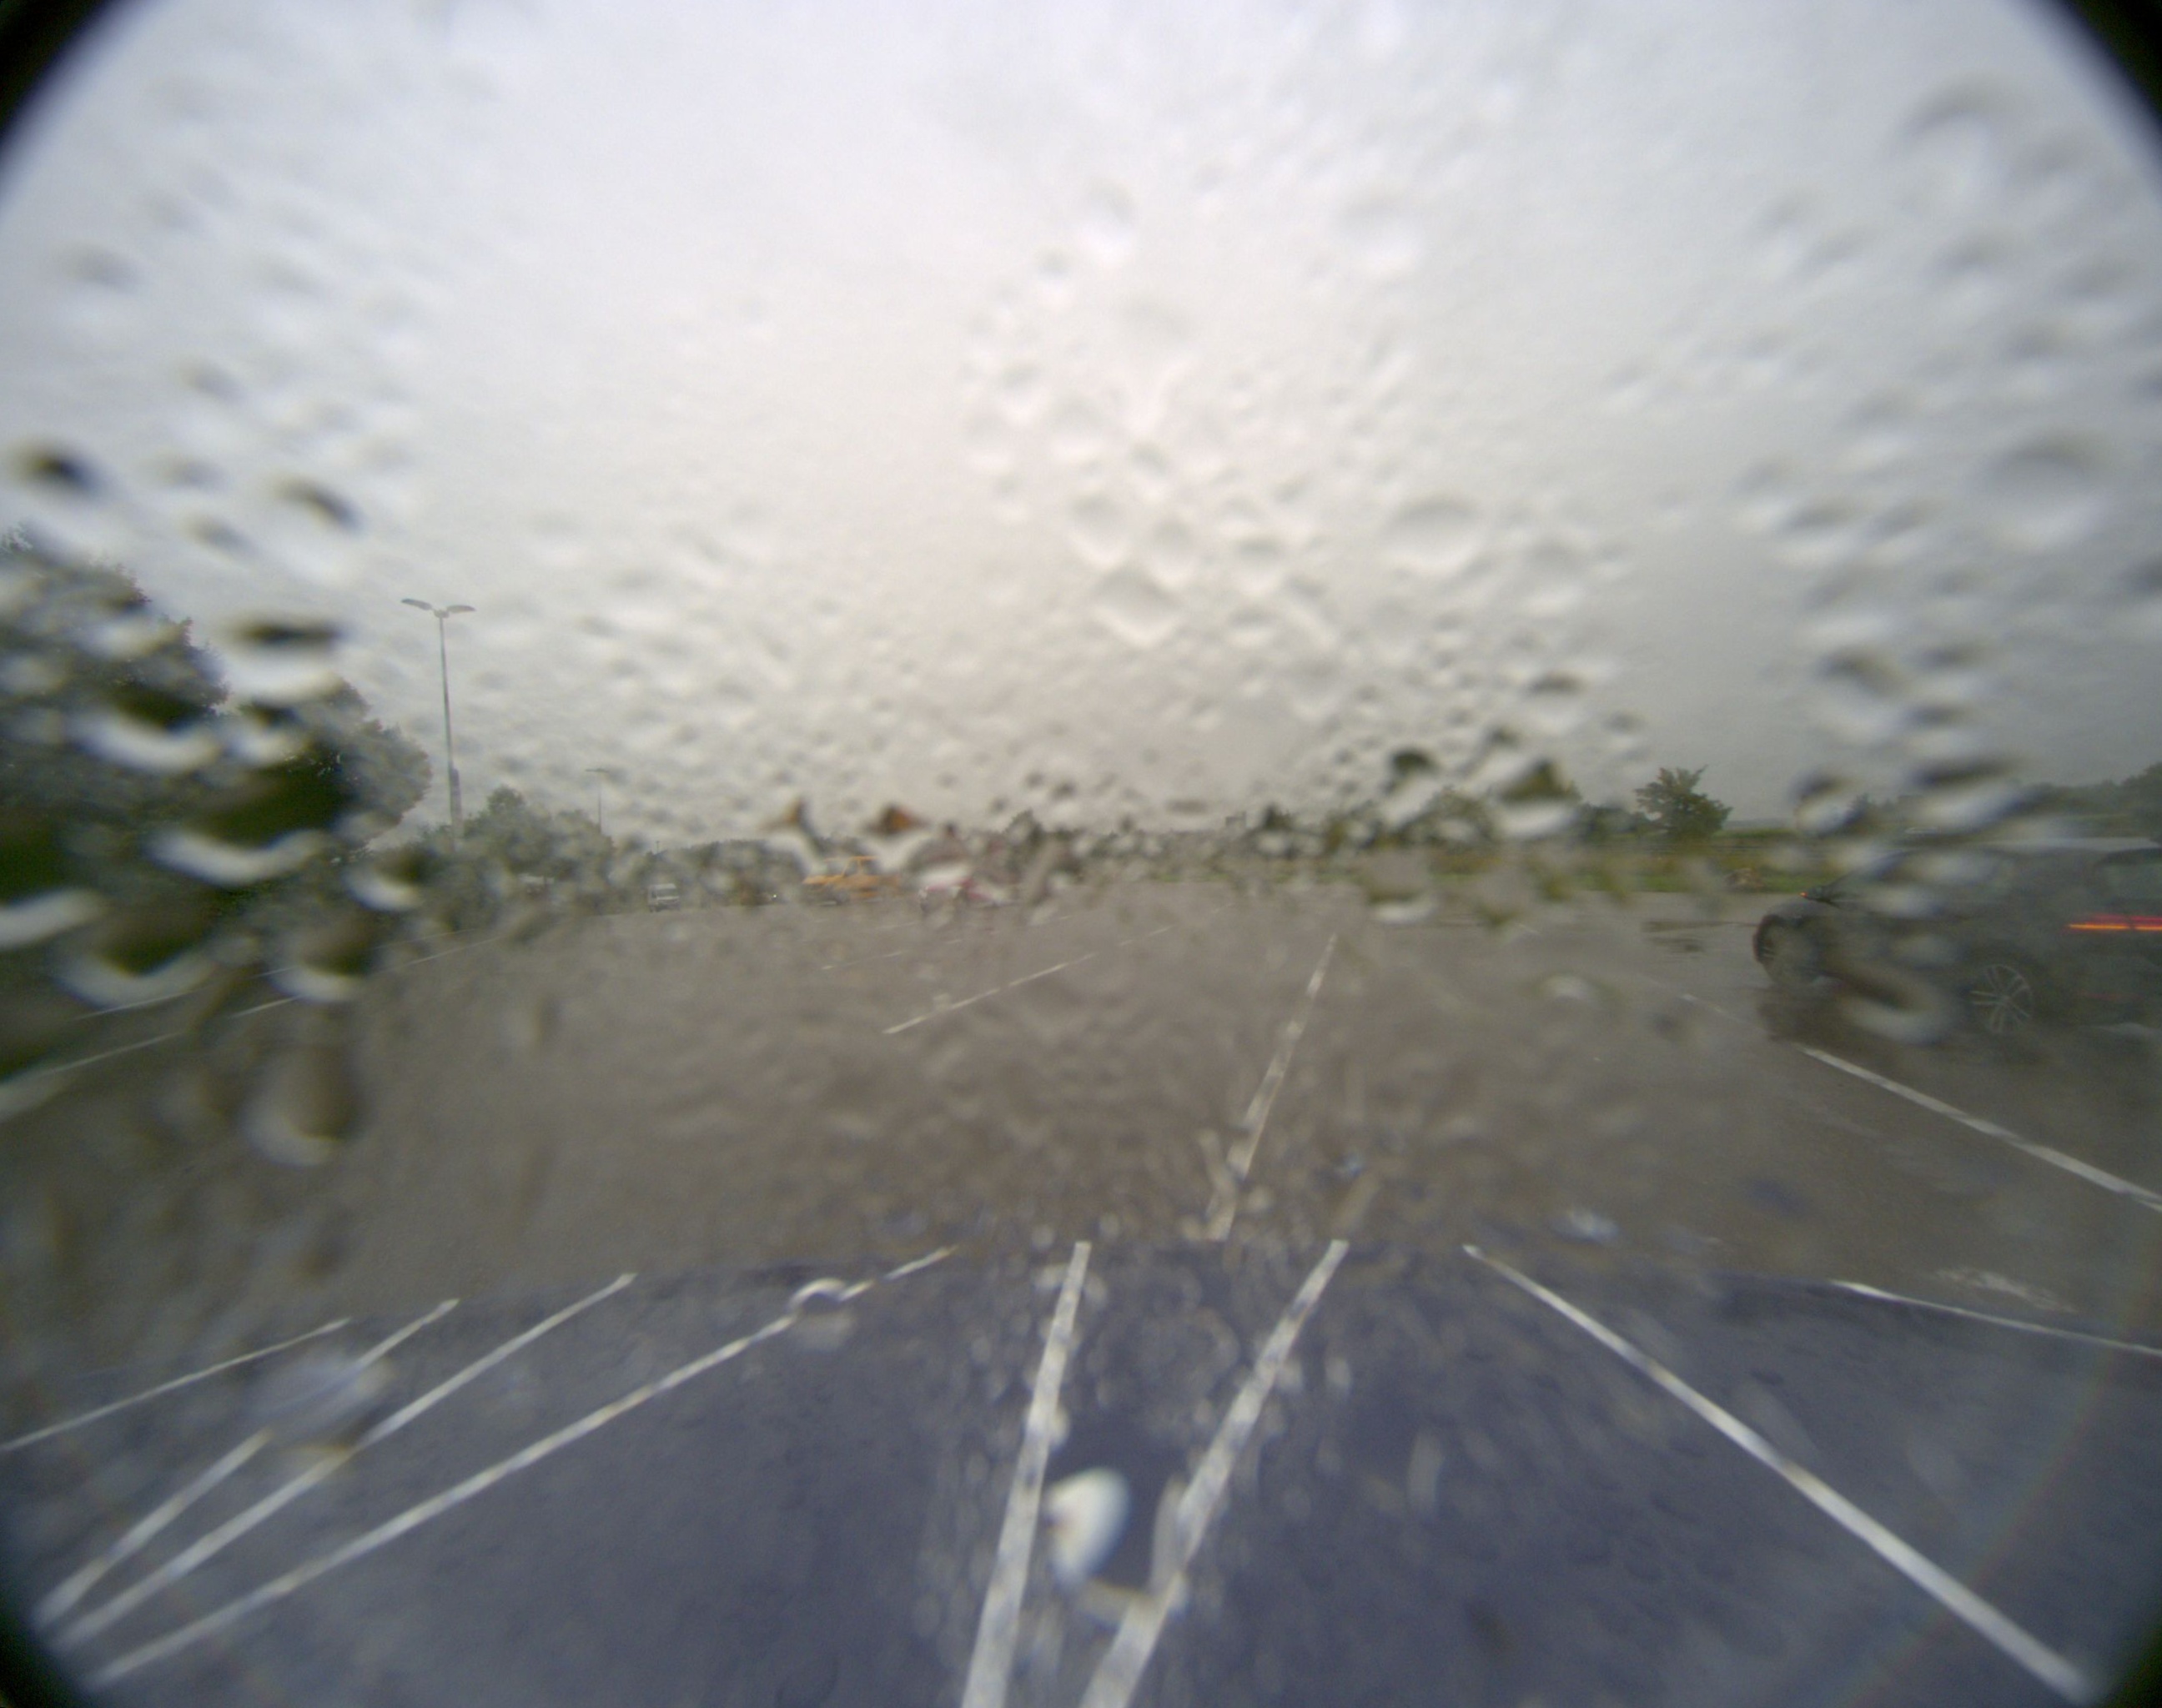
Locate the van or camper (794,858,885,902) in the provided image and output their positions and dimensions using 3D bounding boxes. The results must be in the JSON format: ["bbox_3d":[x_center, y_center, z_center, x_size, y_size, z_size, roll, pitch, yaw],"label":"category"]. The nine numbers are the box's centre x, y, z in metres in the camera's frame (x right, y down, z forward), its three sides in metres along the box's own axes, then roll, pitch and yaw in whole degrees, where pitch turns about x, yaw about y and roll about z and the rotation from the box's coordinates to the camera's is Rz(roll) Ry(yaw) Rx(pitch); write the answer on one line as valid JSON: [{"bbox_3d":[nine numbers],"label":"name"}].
[{"bbox_3d":[-16.550,1.703,52.615,1.995,2.700,7.079,0,1,21],"label":"van or camper"}]

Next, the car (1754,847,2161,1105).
[{"bbox_3d":[7.626,0.688,6.080,1.776,1.425,4.083,-2,0,17],"label":"car"}]

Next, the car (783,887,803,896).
[{"bbox_3d":[-34.783,4.514,91.623,1.712,0.994,3.759,-2,0,-29],"label":"car"}]

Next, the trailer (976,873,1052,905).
[{"bbox_3d":[-2.489,1.307,28.943,1.585,1.061,3.035,-3,-1,24],"label":"trailer"}]

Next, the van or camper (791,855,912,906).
[{"bbox_3d":[-11.054,1.205,37.351,2.130,2.233,6.427,-2,0,21],"label":"van or camper"}]

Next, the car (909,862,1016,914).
[{"bbox_3d":[-3.874,1.094,25.630,1.546,1.546,4.063,-2,0,24],"label":"car"}]
